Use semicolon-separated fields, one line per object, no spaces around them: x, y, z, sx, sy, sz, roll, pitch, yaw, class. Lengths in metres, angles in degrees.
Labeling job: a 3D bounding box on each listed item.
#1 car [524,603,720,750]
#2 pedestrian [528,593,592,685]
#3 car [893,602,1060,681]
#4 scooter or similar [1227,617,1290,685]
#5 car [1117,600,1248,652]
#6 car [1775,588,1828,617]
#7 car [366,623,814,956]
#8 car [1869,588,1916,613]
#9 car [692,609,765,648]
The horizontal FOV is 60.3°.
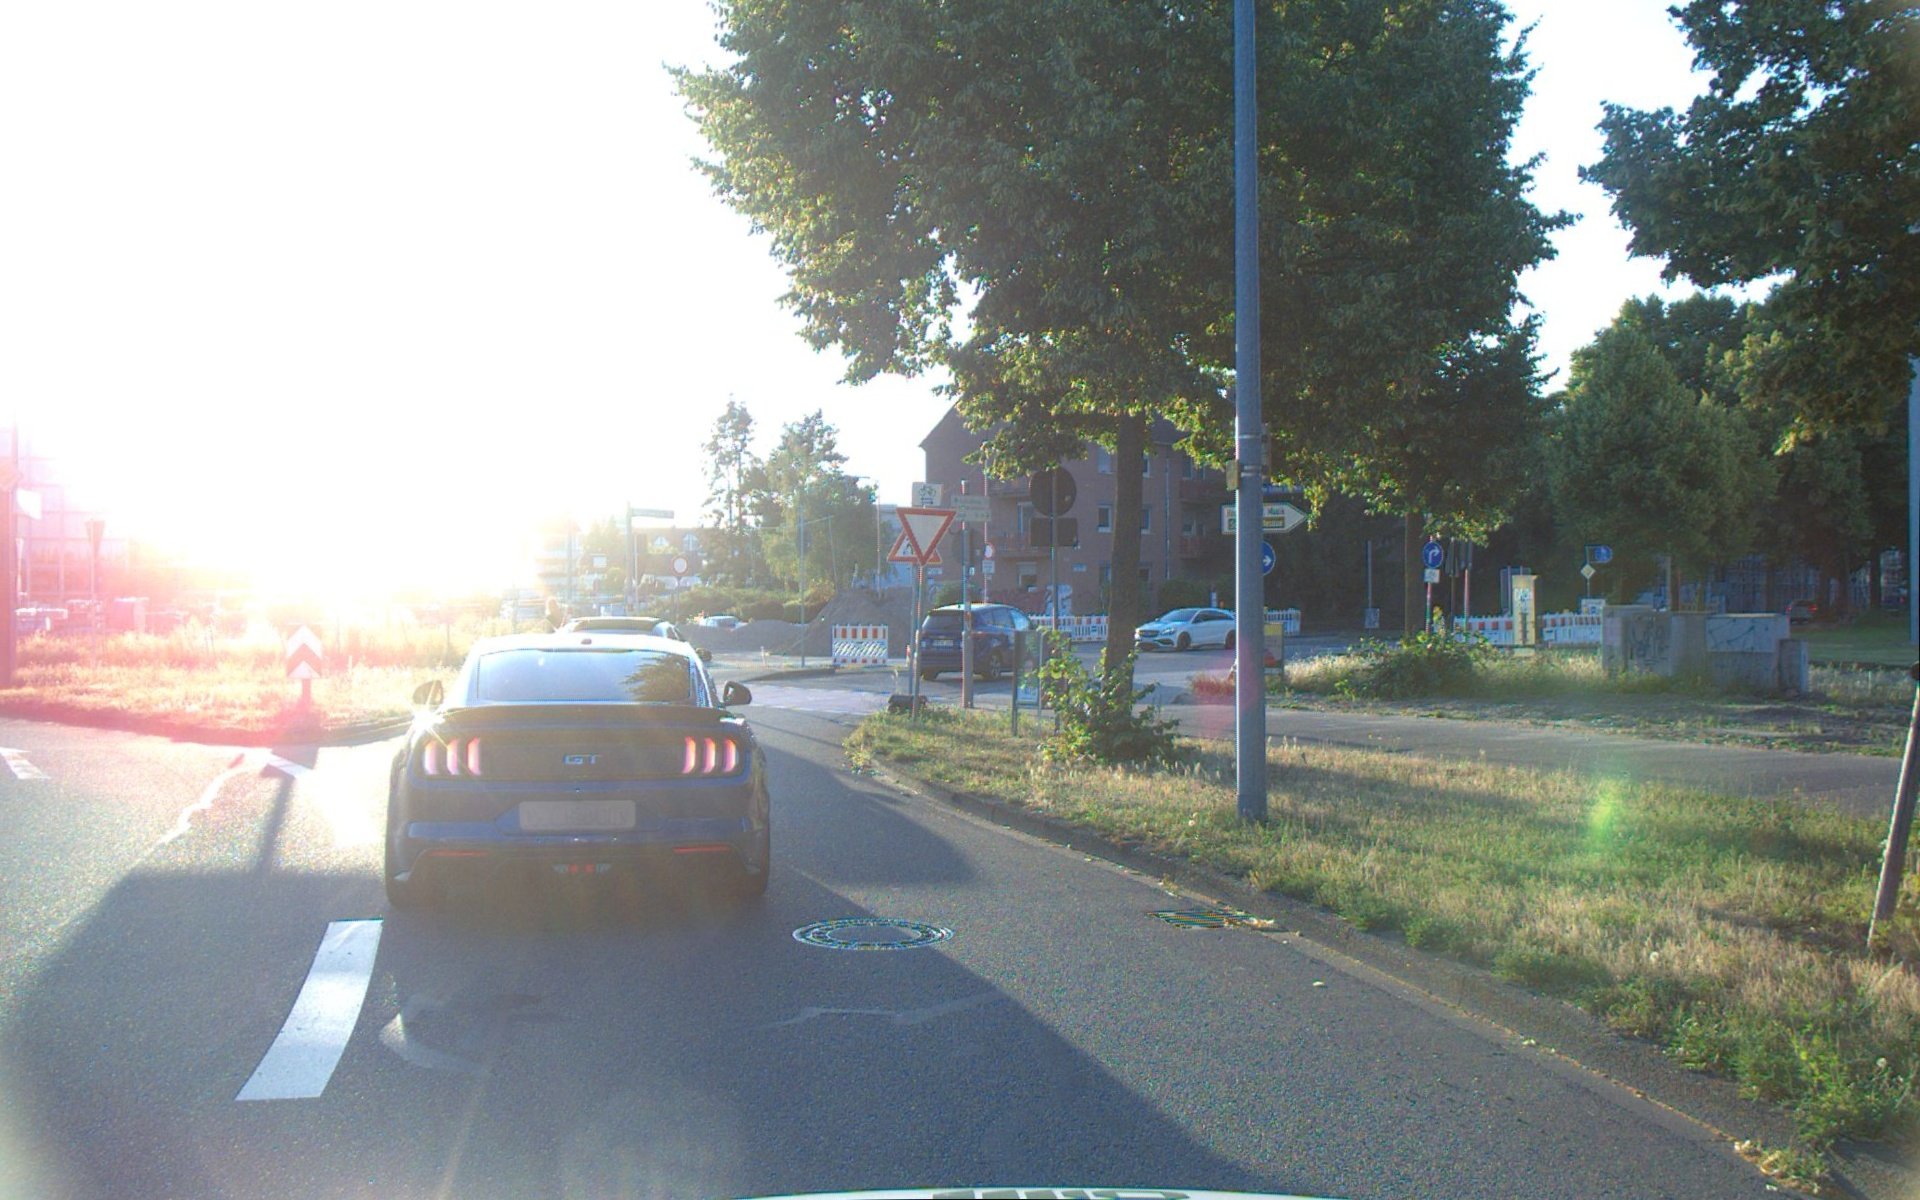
-3.778;0.856;19.178;1.915;1.452;4.420;2;-2;-8;car
-7.577;0.728;31.329;0.870;1.716;0.842;-1;0;39;pedestrian
0.419;0.856;36.131;1.915;1.630;4.069;-1;0;30;car
5.616;0.954;31.137;1.100;1.260;0.441;0;0;-11;scooter or similar
7.657;0.856;56.632;4.621;1.478;2.042;-2;4;-44;car
47.758;0.134;93.863;1.921;1.630;4.057;0;0;39;car
-2.218;0.839;9.525;1.919;1.365;4.650;1;0;-16;car
62.442;0.045;110.726;1.922;1.630;4.054;0;0;41;car
-10.871;1.312;77.529;1.974;1.736;3.957;0;0;-32;car
